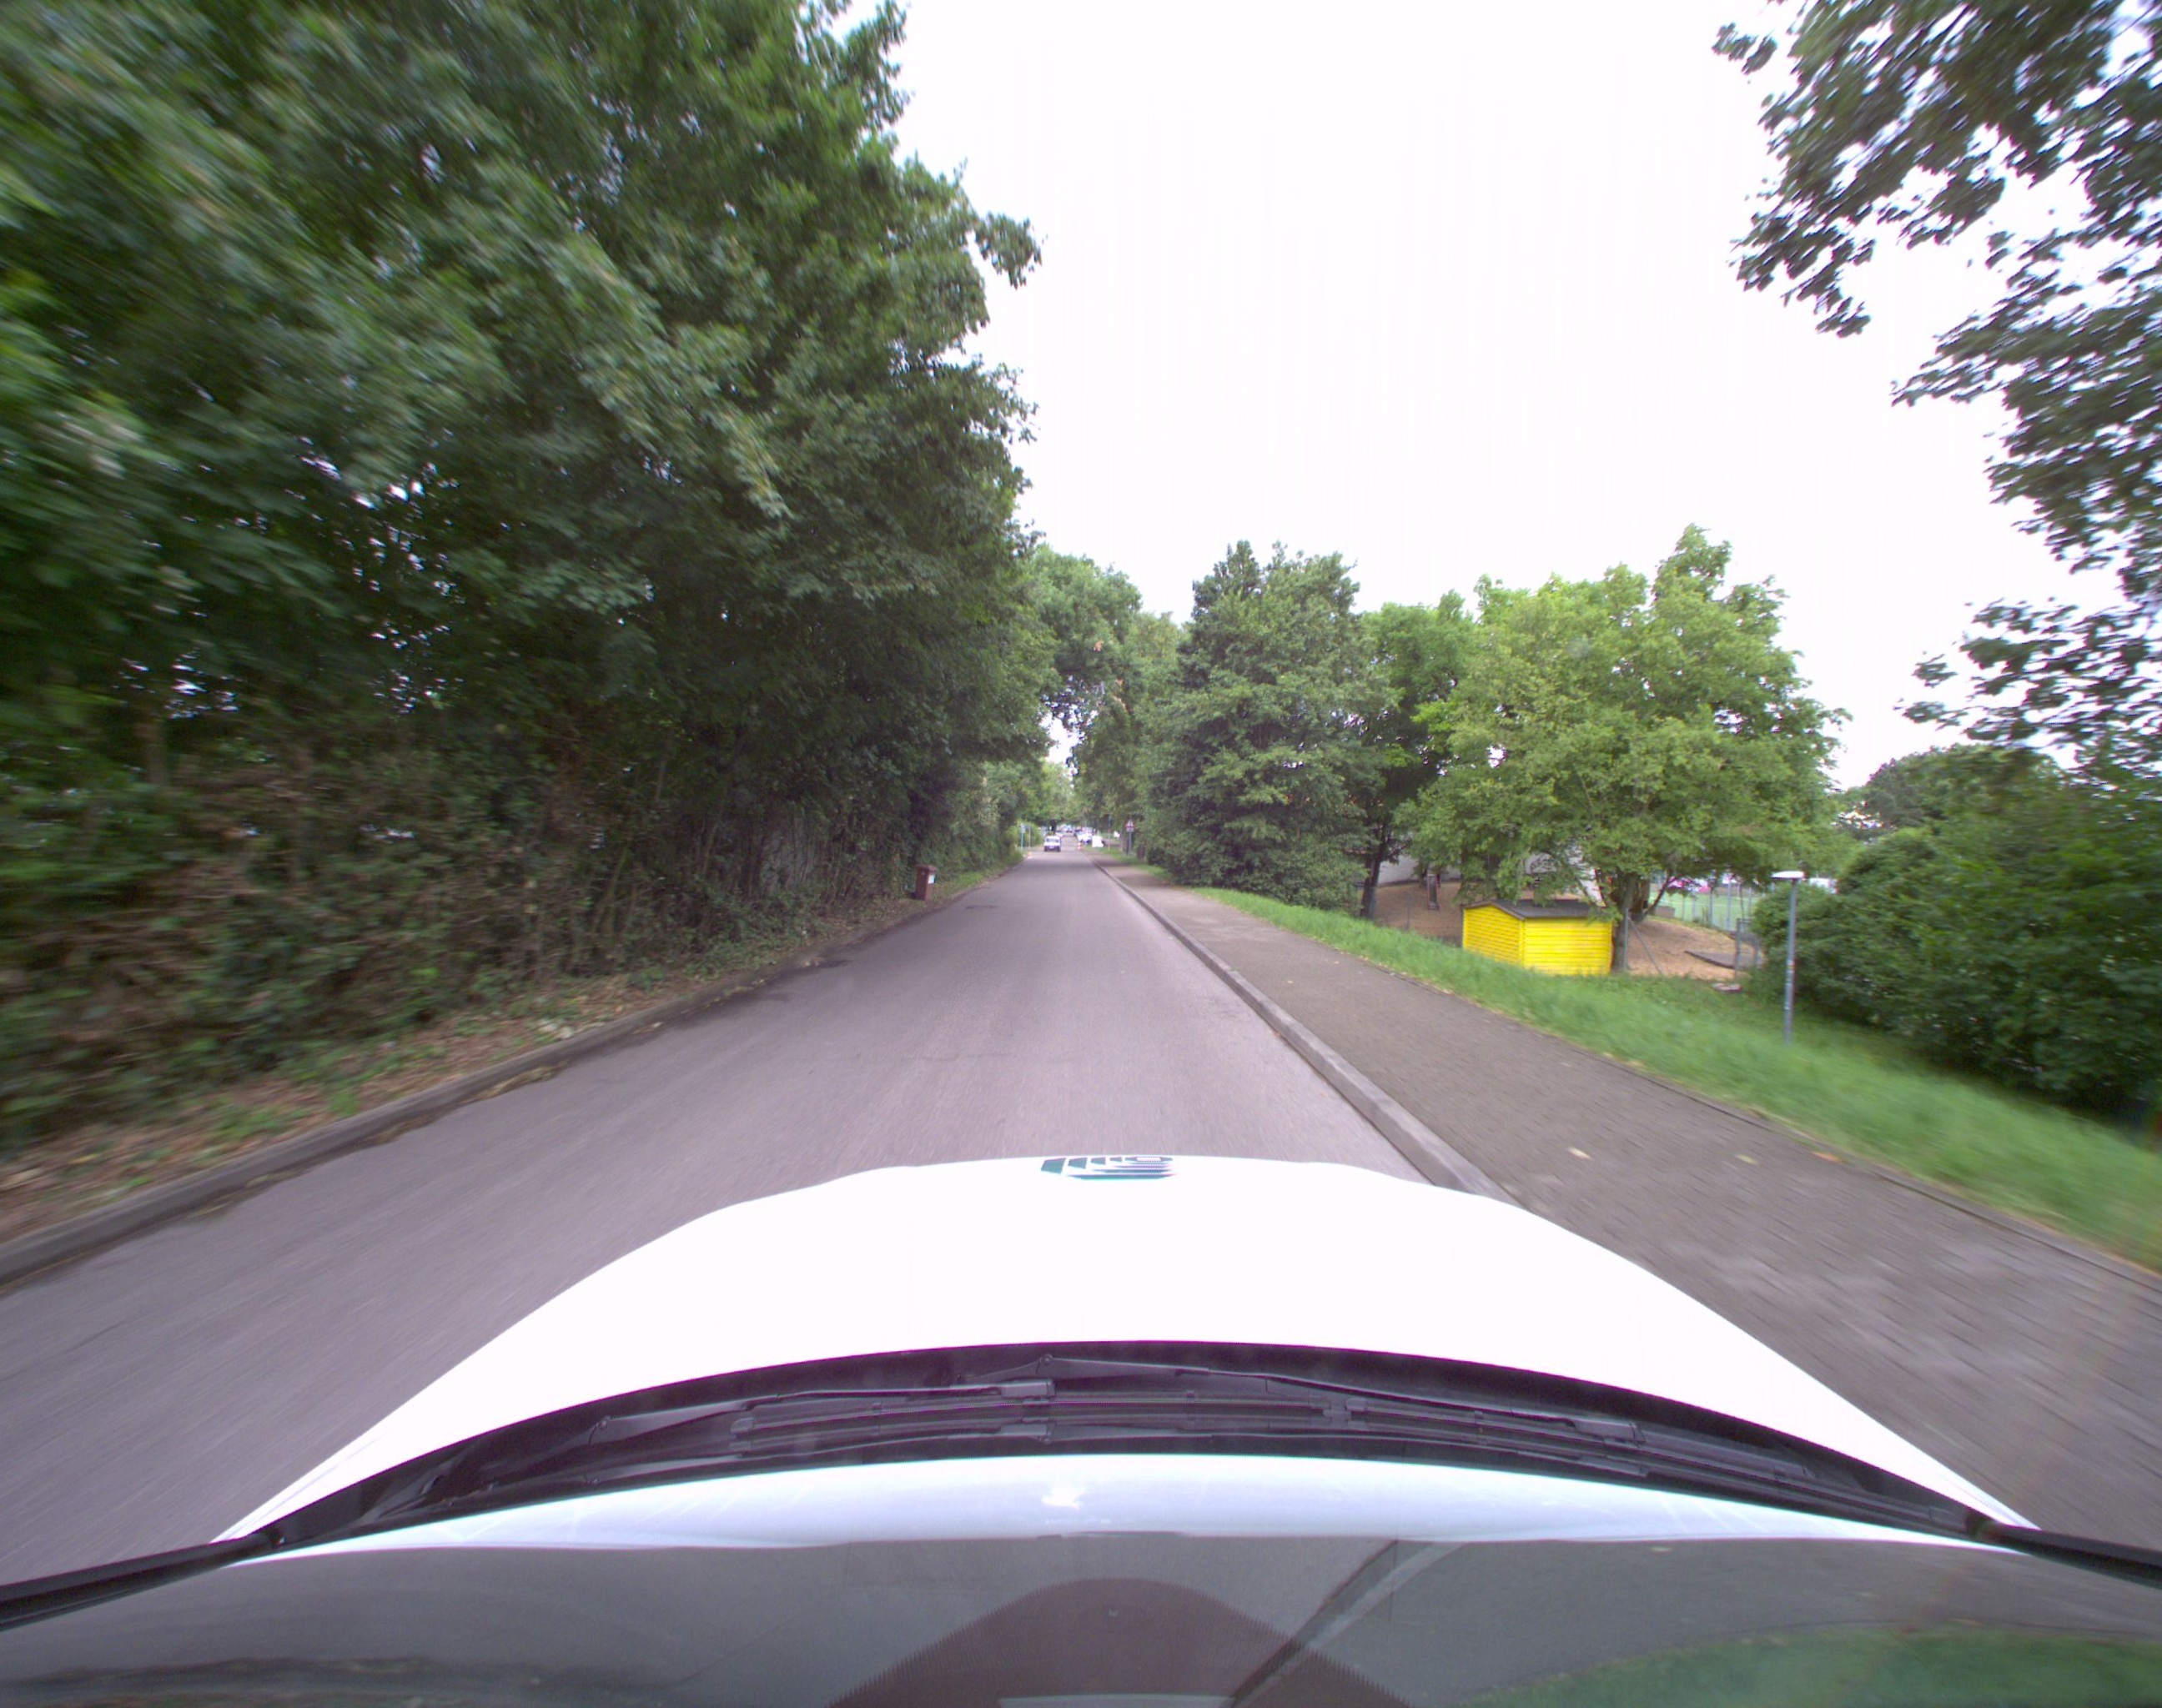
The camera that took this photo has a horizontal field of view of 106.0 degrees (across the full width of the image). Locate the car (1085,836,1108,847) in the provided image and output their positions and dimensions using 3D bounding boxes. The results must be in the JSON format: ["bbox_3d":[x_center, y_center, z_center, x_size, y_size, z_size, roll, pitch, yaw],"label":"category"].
[{"bbox_3d":[2.772,-2.209,144.835,3.974,1.772,2.000,1,-1,0],"label":"car"}]

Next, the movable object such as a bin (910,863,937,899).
[{"bbox_3d":[-4.230,0.726,21.897,0.588,0.957,0.470,1,-1,0],"label":"movable object such as a bin"}]

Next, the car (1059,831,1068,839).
[{"bbox_3d":[-4.468,-4.777,206.328,1.987,1.772,4.000,1,-1,0],"label":"car"}]

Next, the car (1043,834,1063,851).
[{"bbox_3d":[-3.221,-1.312,94.333,1.987,1.772,4.000,1,-1,0],"label":"car"}]
